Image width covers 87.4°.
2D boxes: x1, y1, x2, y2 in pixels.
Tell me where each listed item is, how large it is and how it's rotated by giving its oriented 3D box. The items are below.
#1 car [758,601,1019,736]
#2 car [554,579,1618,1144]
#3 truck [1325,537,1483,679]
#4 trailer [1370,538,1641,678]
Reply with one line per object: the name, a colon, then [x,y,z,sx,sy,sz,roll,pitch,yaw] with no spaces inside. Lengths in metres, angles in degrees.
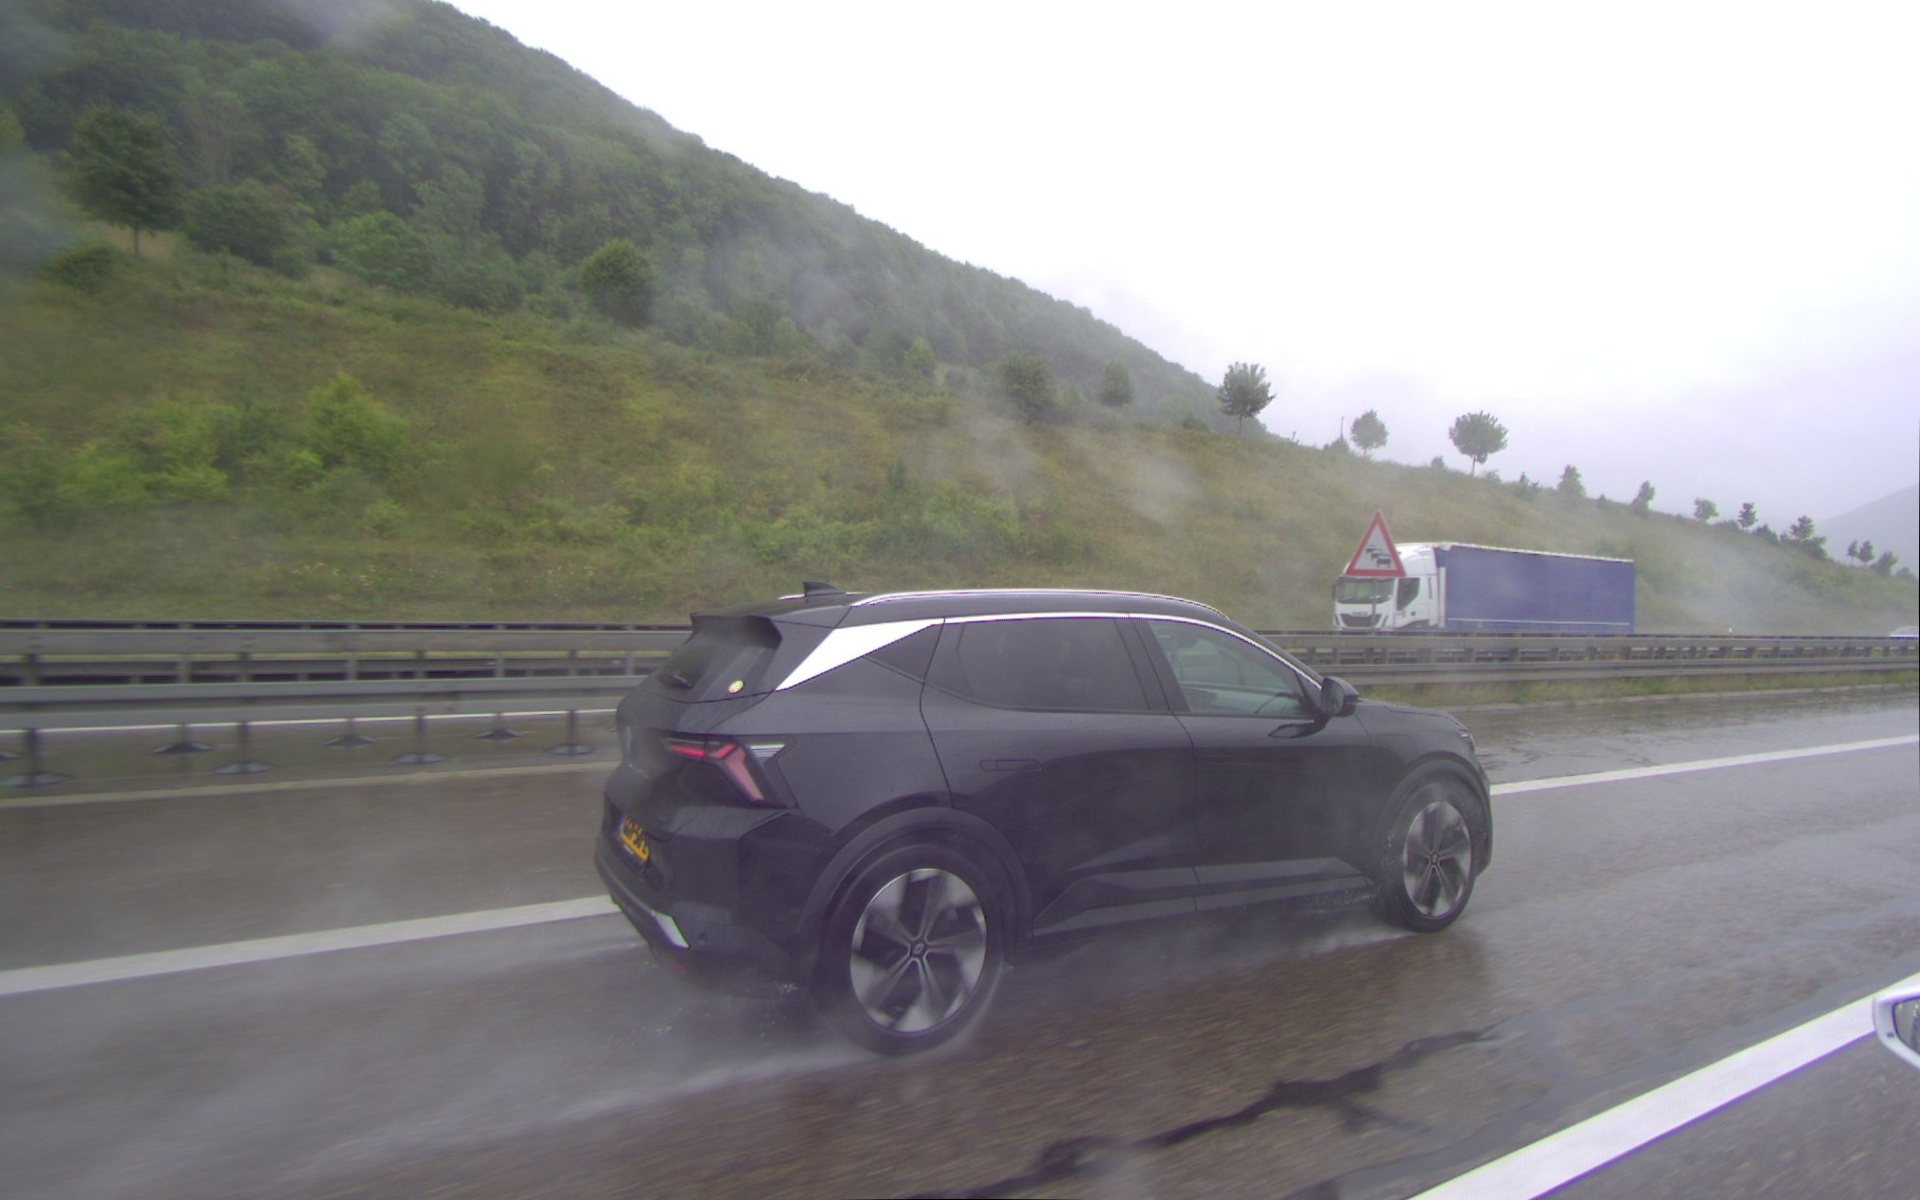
car: [-1.200,1.077,17.041,3.953,2.040,1.984,1,-1,-30]
car: [0.683,0.759,4.951,4.726,1.535,2.395,1,-1,-29]
truck: [15.887,0.315,35.932,5.096,4.735,2.676,1,0,-31]
trailer: [21.813,0.412,39.539,13.881,4.849,2.722,1,-1,-31]
